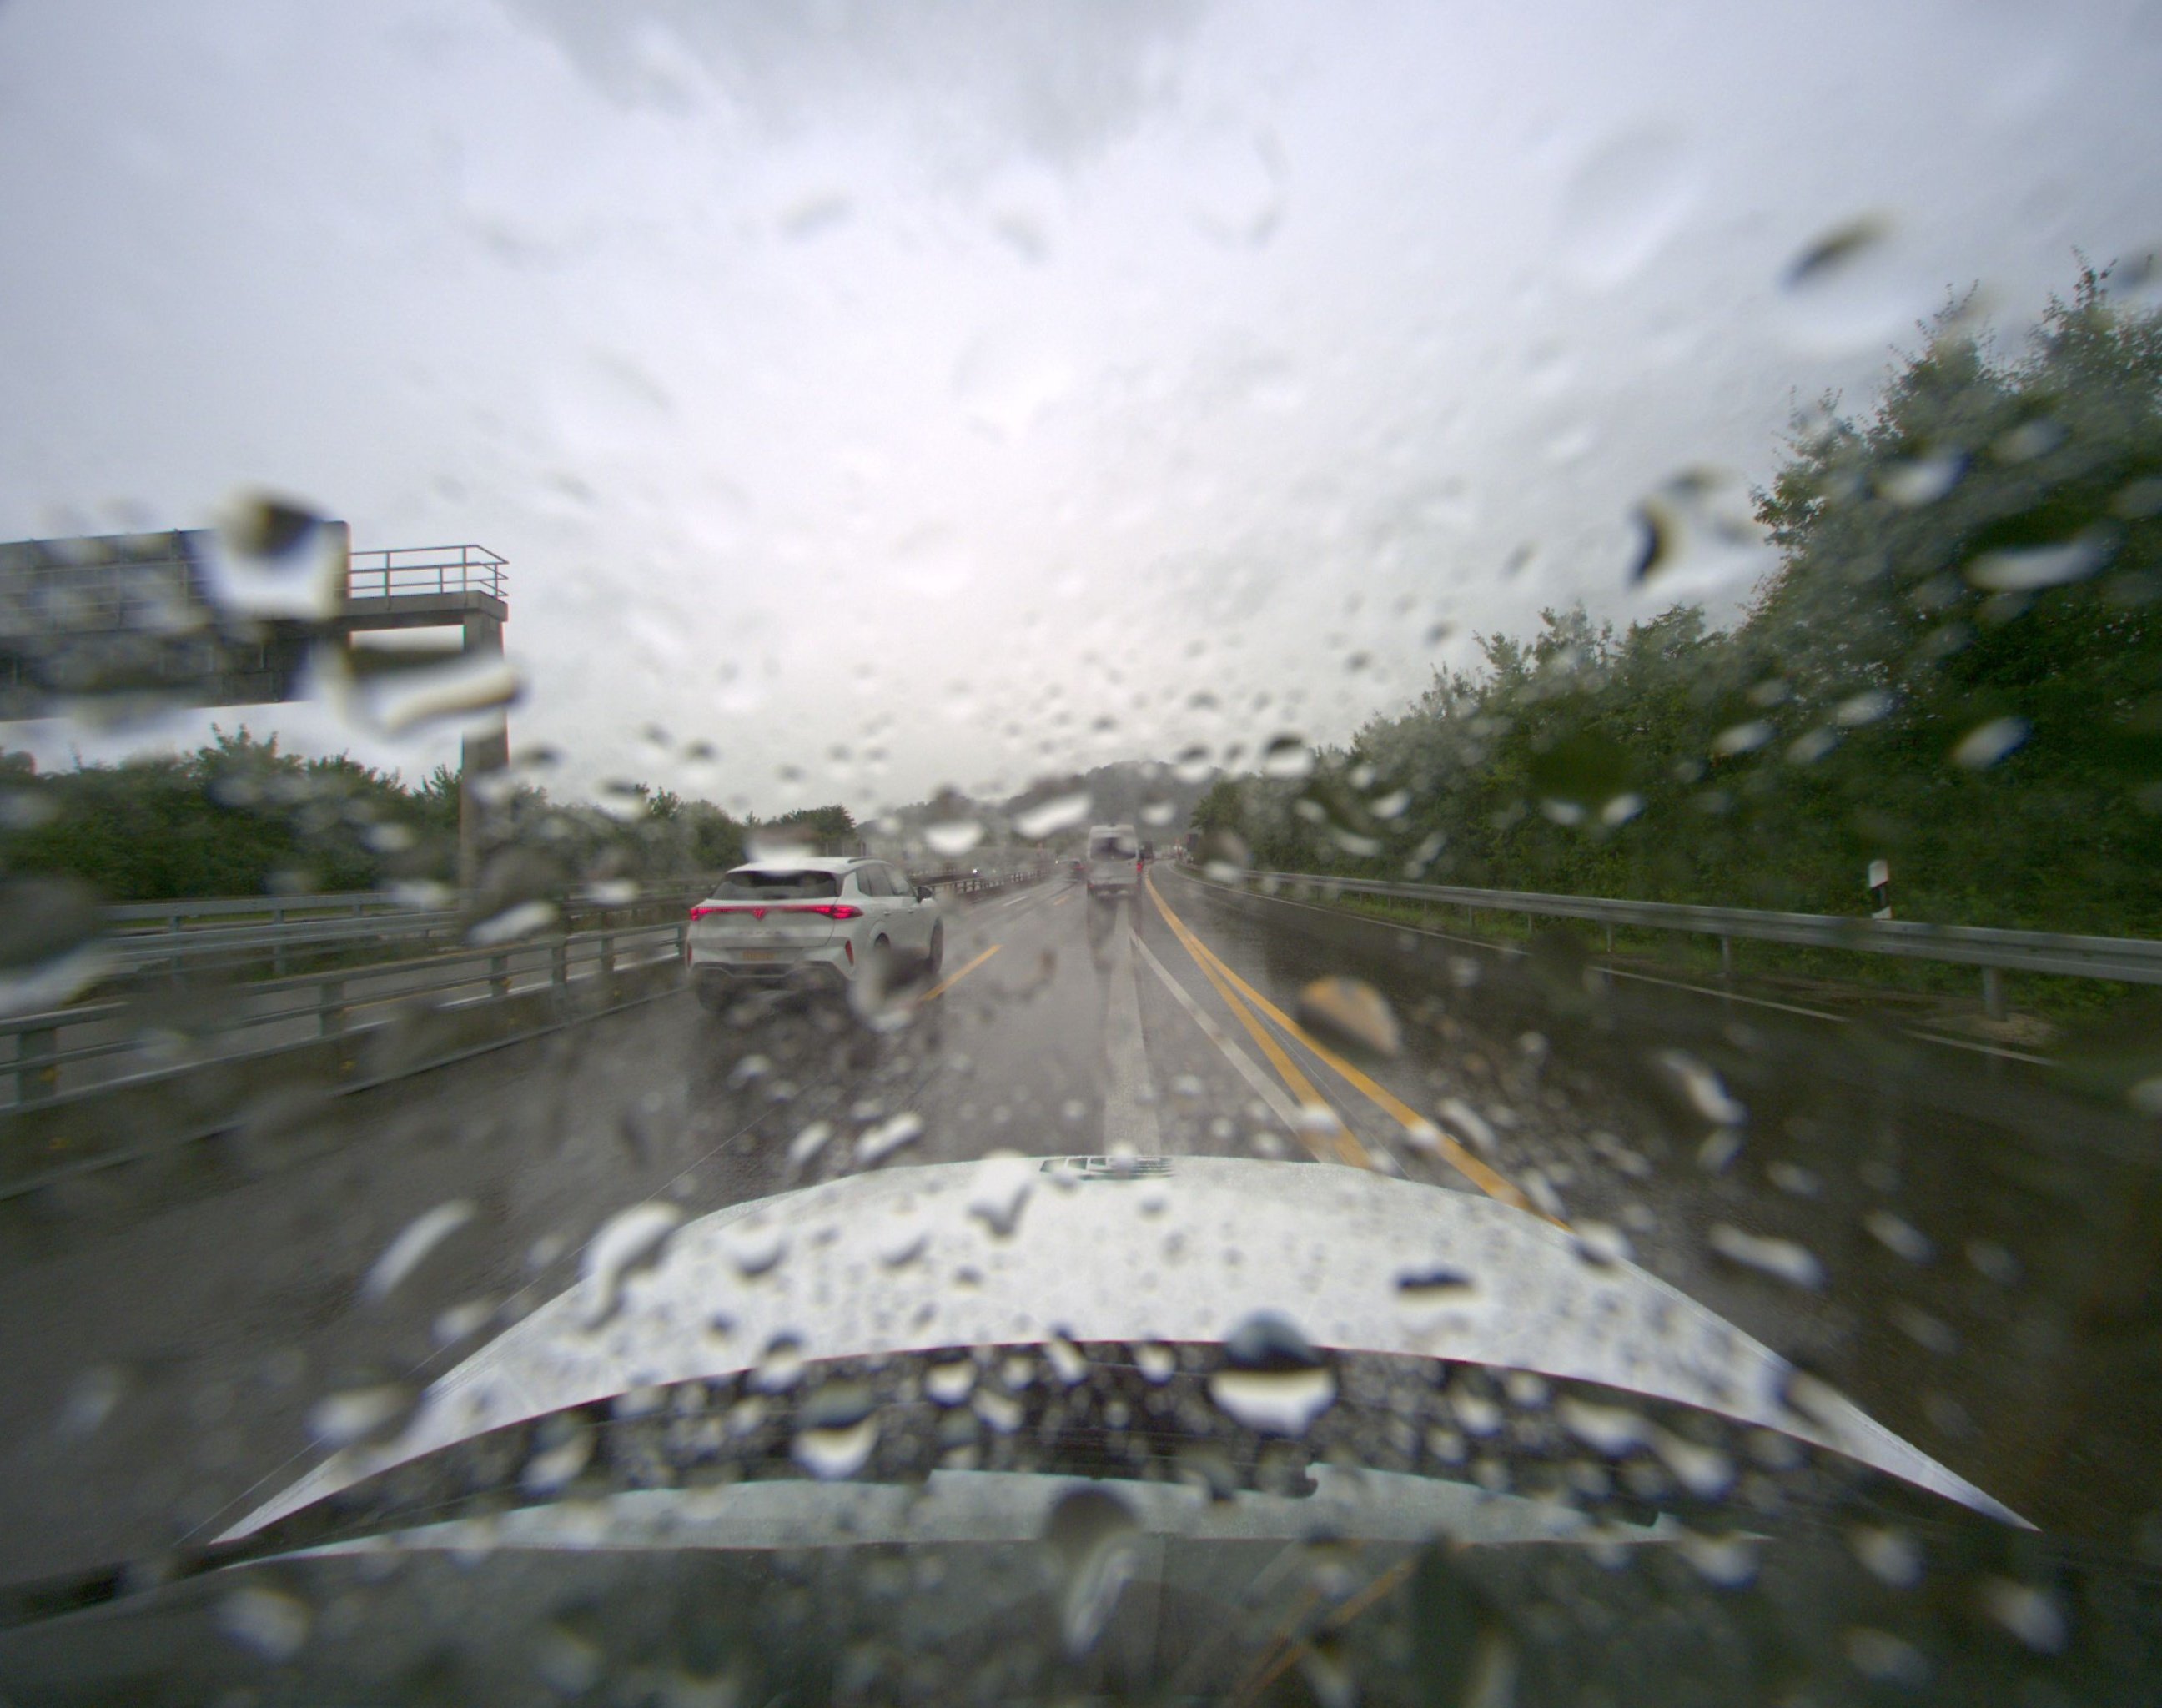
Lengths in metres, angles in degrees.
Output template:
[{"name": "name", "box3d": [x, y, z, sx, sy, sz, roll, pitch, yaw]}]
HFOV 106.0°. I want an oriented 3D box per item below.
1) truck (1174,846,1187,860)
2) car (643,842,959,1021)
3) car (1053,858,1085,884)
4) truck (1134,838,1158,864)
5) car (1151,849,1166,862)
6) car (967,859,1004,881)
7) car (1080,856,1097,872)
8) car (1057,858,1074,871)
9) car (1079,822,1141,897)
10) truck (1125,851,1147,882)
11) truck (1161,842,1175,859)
[{"name": "truck", "box3d": [31.708, -0.345, 259.393, 2.878, 4.406, 9.658, 0, -1, 13]}, {"name": "car", "box3d": [-2.902, 0.721, 9.797, 1.986, 1.617, 4.798, 0, -1, 2]}, {"name": "car", "box3d": [-0.764, 1.044, 51.072, 1.941, 1.561, 3.998, 0, -1, -1]}, {"name": "truck", "box3d": [11.418, -0.482, 141.765, 3.561, 4.406, 9.644, 0, -1, 8]}, {"name": "car", "box3d": [18.029, 0.393, 189.899, 2.880, 2.887, 6.430, 0, -1, 11]}, {"name": "car", "box3d": [-6.711, 1.125, 57.851, 1.839, 1.502, 4.135, 0, -1, 4]}, {"name": "car", "box3d": [0.822, 1.040, 83.883, 1.701, 1.627, 4.000, 0, -1, 1]}, {"name": "car", "box3d": [-2.019, 1.347, 105.709, 1.770, 1.604, 4.323, 0, -1, 6]}, {"name": "car", "box3d": [1.155, 0.211, 30.584, 2.136, 2.571, 5.394, 0, -1, 3]}, {"name": "truck", "box3d": [5.793, 1.278, 85.343, 1.984, 3.109, 8.511, 0, -1, 6]}, {"name": "truck", "box3d": [24.281, -0.915, 226.247, 3.016, 4.406, 9.653, 0, -1, 11]}]
